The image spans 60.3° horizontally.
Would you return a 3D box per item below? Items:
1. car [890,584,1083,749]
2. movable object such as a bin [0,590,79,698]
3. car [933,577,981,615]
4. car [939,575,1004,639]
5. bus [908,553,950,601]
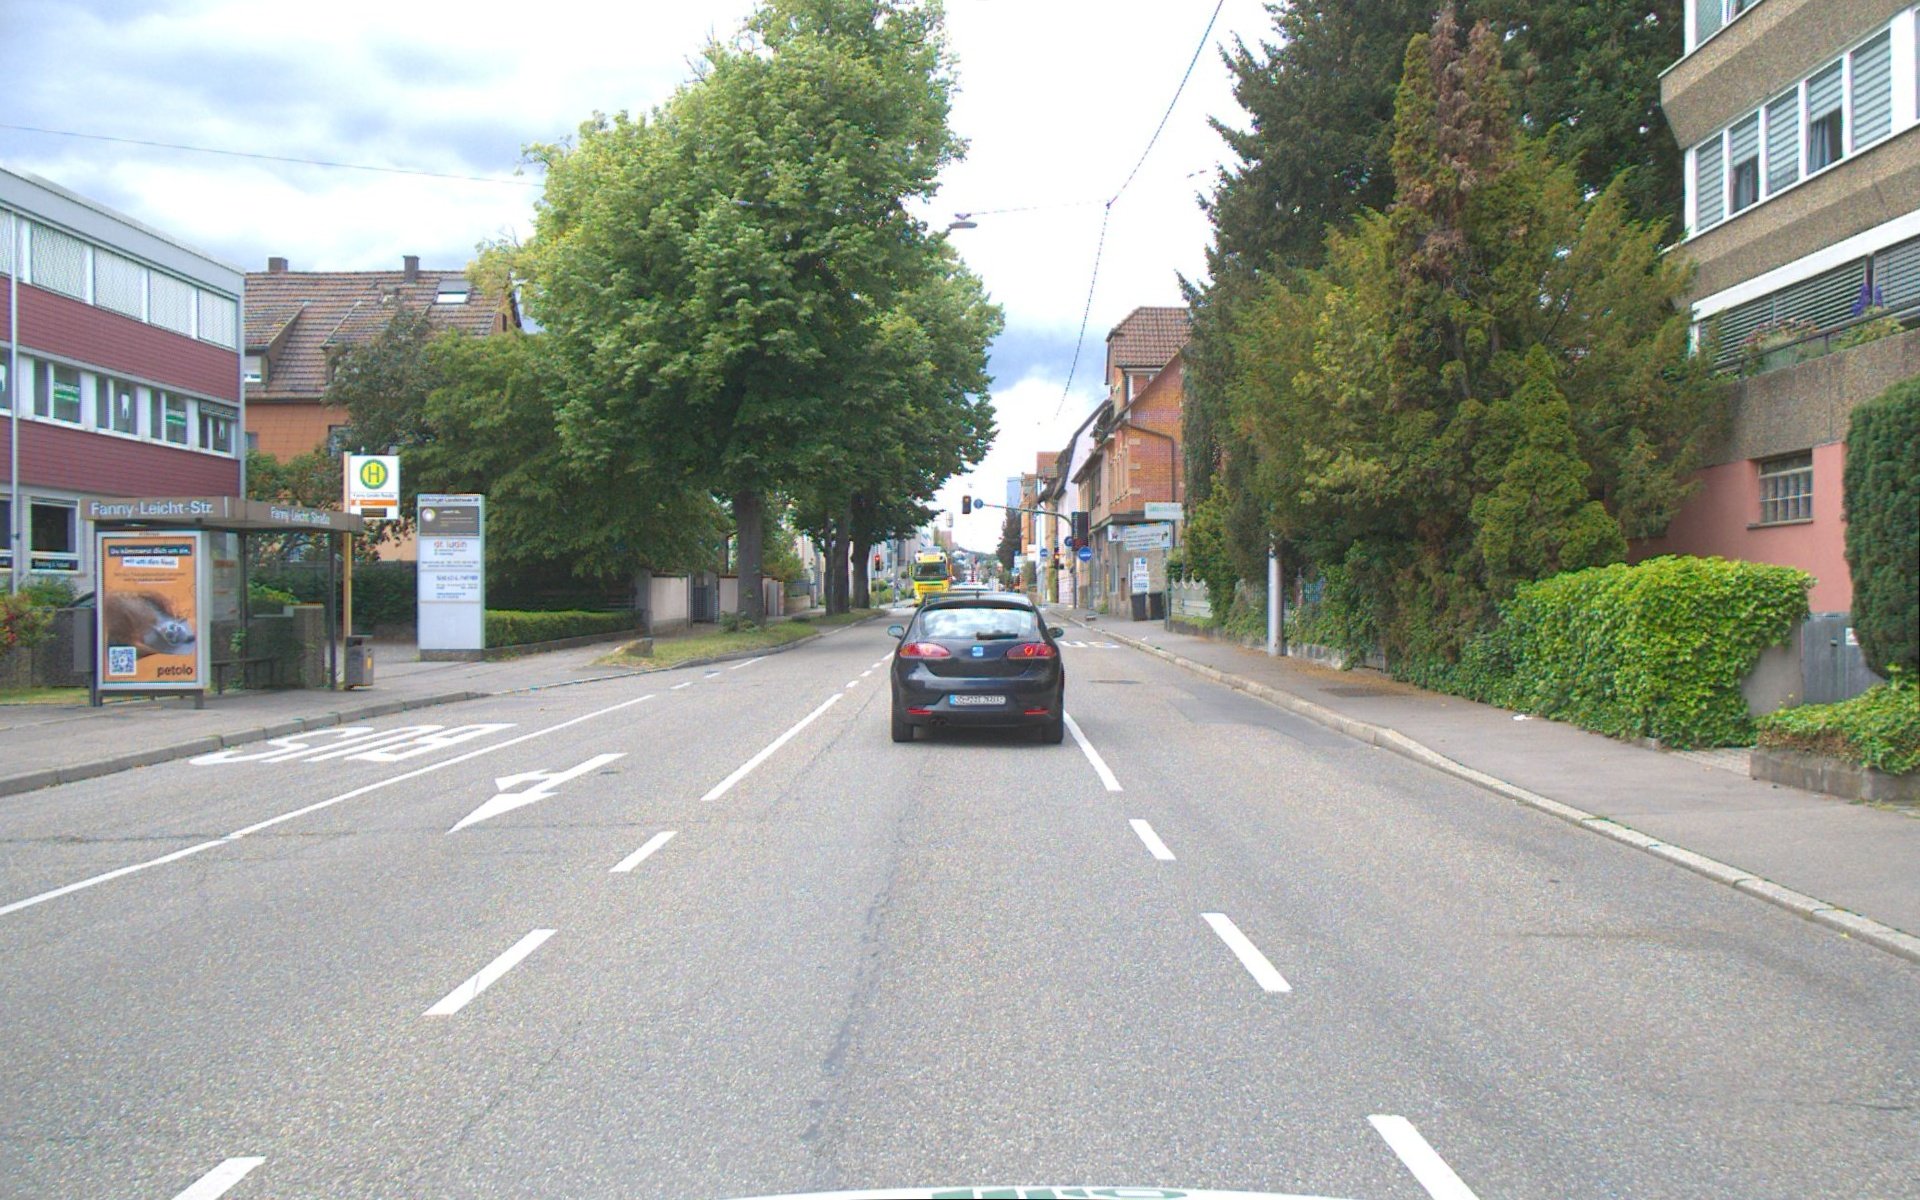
[{"bbox_3d":[0.167,0.607,17.235,1.724,1.474,3.712,1,1,-3],"label":"car"},{"bbox_3d":[-18.841,0.861,32.705,1.953,2.048,1.542,-1,1,-1],"label":"movable object such as a bin"},{"bbox_3d":[-0.154,-0.192,72.630,1.902,1.506,4.252,-2,1,-2],"label":"car"},{"bbox_3d":[0.368,0.171,48.987,1.781,1.729,4.254,-2,1,1],"label":"car"},{"bbox_3d":[-2.120,-1.625,116.458,2.810,3.190,6.397,-1,1,-1],"label":"bus"}]
